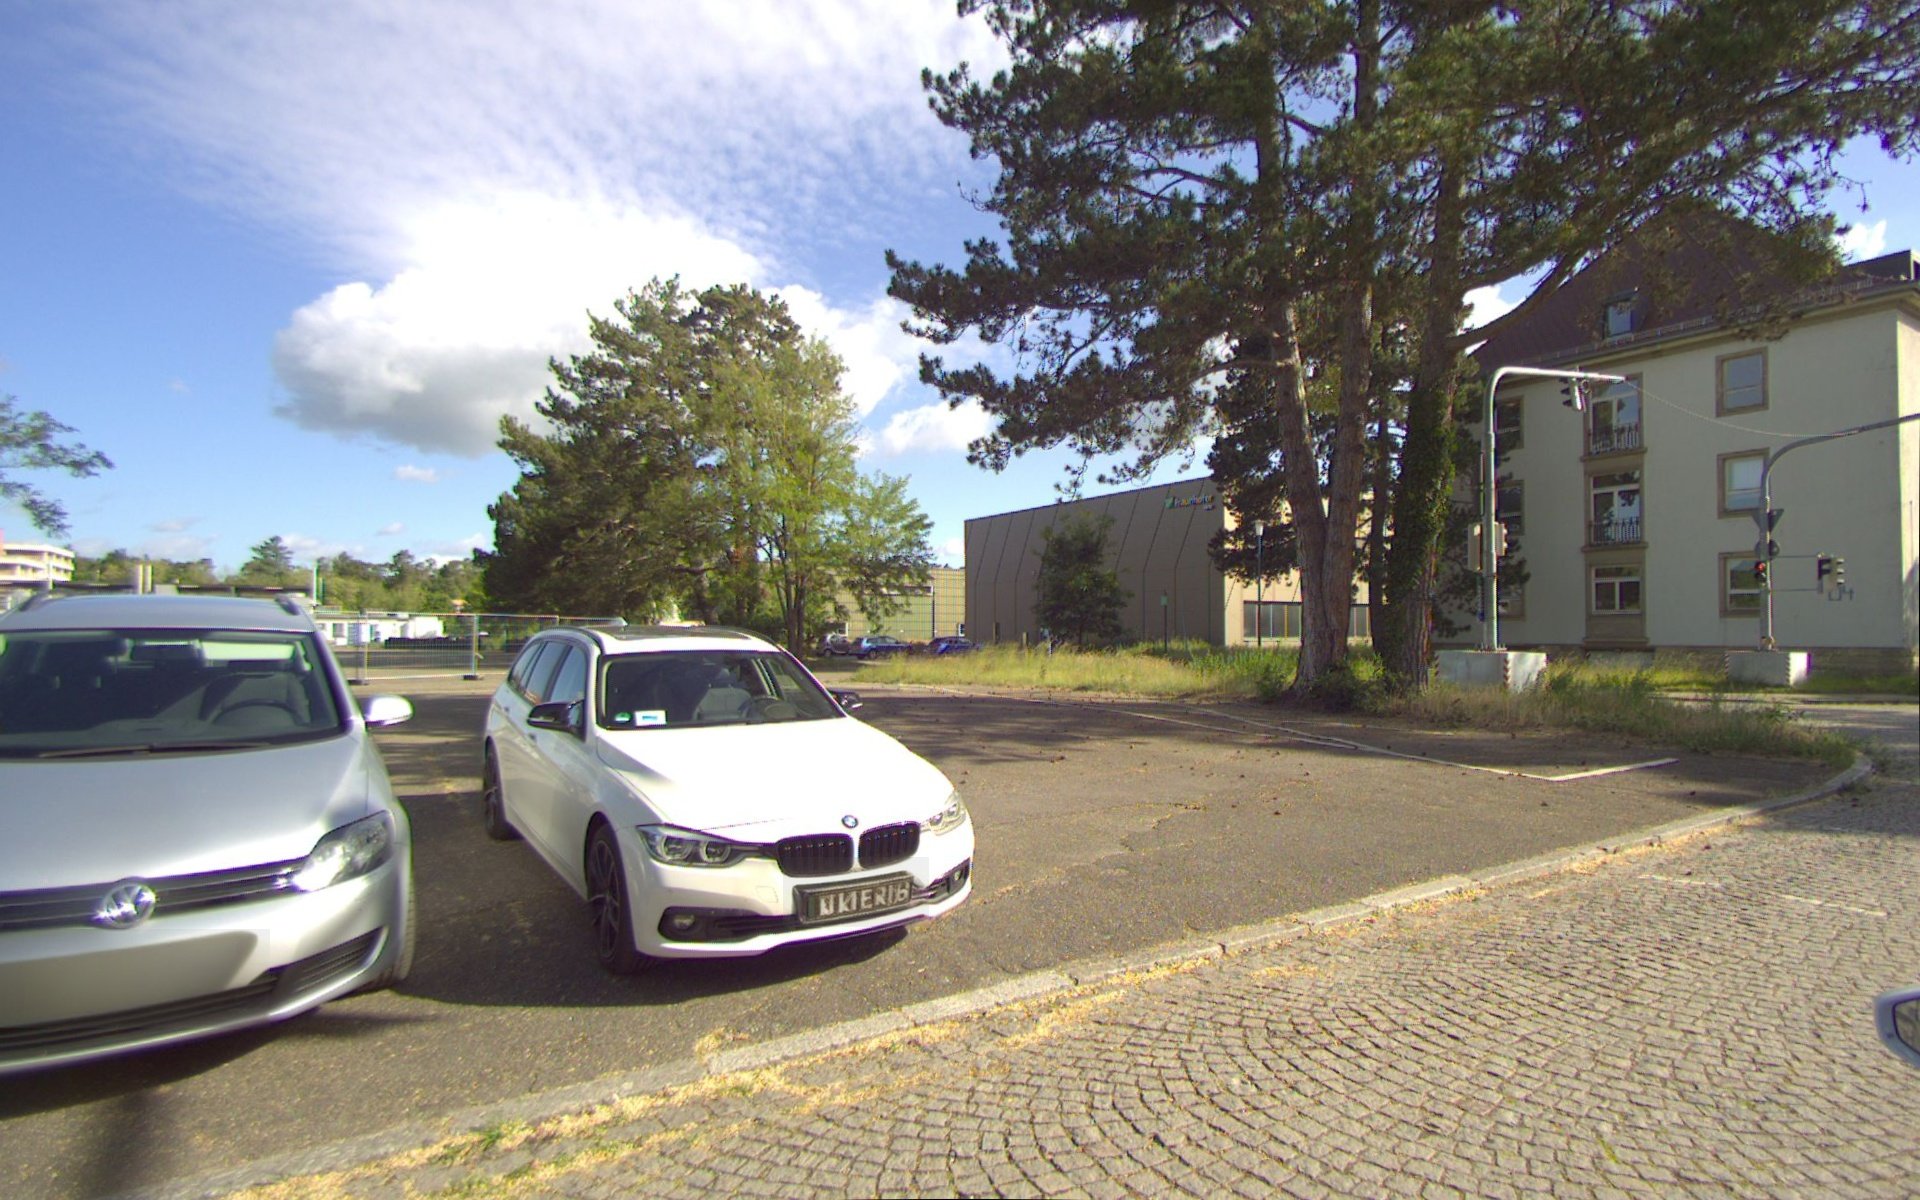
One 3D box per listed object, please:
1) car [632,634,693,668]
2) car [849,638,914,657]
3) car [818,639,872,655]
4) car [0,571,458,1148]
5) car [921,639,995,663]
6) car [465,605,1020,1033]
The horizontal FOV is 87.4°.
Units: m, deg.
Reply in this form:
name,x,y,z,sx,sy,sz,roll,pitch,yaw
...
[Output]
name,x,y,z,sx,sy,sz,roll,pitch,yaw
car,-12.717,2.142,42.850,1.726,1.388,3.594,1,-2,-30
car,-5.097,3.051,65.047,3.951,1.221,1.481,1,-2,-29
car,-8.187,3.356,71.518,3.635,1.090,1.399,1,-2,-29
car,-3.632,0.717,4.661,1.705,1.648,3.916,1,1,-36
car,-0.100,2.891,57.197,4.003,1.311,1.480,1,-2,-30
car,-1.701,0.836,6.093,1.734,1.487,4.512,1,1,-34
